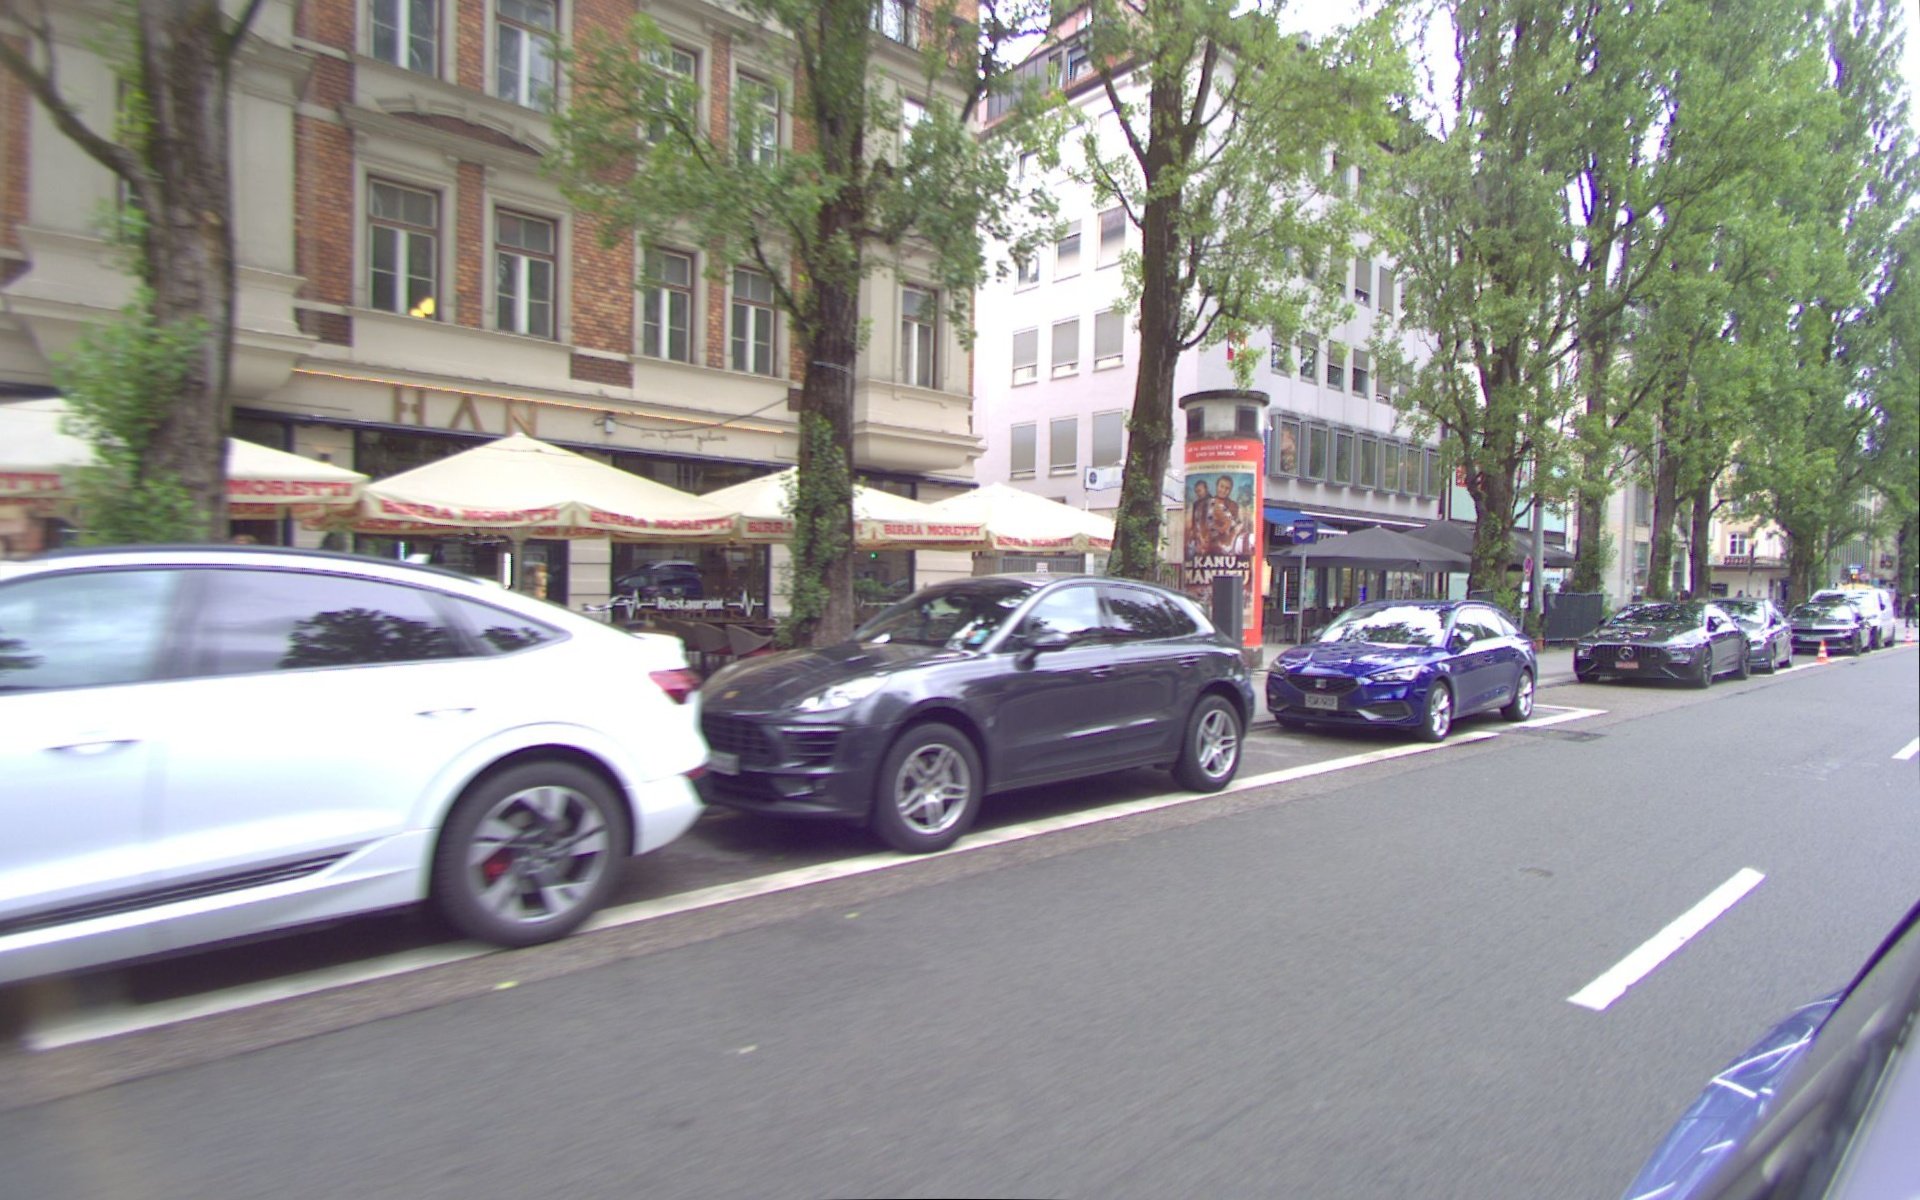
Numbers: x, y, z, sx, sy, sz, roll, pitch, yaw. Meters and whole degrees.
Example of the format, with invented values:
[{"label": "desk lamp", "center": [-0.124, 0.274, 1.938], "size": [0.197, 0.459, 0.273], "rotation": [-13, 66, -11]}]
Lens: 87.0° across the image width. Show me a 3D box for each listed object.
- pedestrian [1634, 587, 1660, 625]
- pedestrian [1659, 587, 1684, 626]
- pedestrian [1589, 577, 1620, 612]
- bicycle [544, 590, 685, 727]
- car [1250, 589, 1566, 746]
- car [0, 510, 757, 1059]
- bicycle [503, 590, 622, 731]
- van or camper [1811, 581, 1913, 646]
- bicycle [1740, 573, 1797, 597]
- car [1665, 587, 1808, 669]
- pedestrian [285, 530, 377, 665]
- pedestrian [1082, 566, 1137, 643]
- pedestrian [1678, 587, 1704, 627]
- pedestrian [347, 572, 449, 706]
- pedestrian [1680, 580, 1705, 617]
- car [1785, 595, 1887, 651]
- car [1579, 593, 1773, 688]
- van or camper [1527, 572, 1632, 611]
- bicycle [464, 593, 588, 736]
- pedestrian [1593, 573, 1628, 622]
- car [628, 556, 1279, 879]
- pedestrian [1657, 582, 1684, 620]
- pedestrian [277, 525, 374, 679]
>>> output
[{"label": "pedestrian", "center": [32.088, 0.264, 47.275], "size": [0.945, 1.739, 0.752], "rotation": [1, 1, -40]}, {"label": "pedestrian", "center": [33.532, 0.318, 47.684], "size": [0.844, 1.779, 0.752], "rotation": [-2, 3, -39]}, {"label": "pedestrian", "center": [31.851, -0.255, 50.023], "size": [0.809, 1.694, 0.988], "rotation": [1, 1, -29]}, {"label": "bicycle", "center": [-3.476, 0.525, 10.084], "size": [0.566, 1.207, 1.871], "rotation": [0, 2, -45]}, {"label": "car", "center": [5.294, 0.620, 11.667], "size": [4.389, 1.422, 1.752], "rotation": [0, 2, -43]}, {"label": "car", "center": [-3.292, 0.541, 3.878], "size": [4.666, 1.641, 1.830], "rotation": [0, 1, -42]}, {"label": "bicycle", "center": [-3.850, 0.530, 9.731], "size": [0.413, 1.207, 1.712], "rotation": [0, 2, -45]}, {"label": "van or camper", "center": [28.988, 0.378, 32.487], "size": [4.818, 1.906, 1.872], "rotation": [0, 1, -41]}, {"label": "bicycle", "center": [44.953, -0.858, 56.291], "size": [0.622, 1.268, 2.348], "rotation": [0, 1, -40]}, {"label": "car", "center": [16.571, 0.511, 21.525], "size": [4.163, 1.525, 1.818], "rotation": [0, 2, -44]}, {"label": "pedestrian", "center": [-8.238, -0.041, 13.259], "size": [0.915, 1.698, 0.730], "rotation": [0, 1, -40]}, {"label": "pedestrian", "center": [3.302, 0.088, 22.344], "size": [0.973, 1.629, 0.730], "rotation": [0, 1, -41]}, {"label": "pedestrian", "center": [33.988, 0.325, 47.050], "size": [0.844, 1.779, 0.752], "rotation": [-2, 3, -39]}, {"label": "pedestrian", "center": [-5.744, 0.367, 10.340], "size": [0.719, 1.283, 0.930], "rotation": [0, 2, -42]}, {"label": "pedestrian", "center": [36.896, -0.083, 50.963], "size": [0.875, 1.840, 0.819], "rotation": [0, 2, -42]}, {"label": "car", "center": [24.689, 0.602, 28.469], "size": [4.280, 1.460, 1.721], "rotation": [0, 0, -43]}, {"label": "car", "center": [13.086, 0.623, 18.373], "size": [4.722, 1.450, 1.881], "rotation": [0, 2, -42]}, {"label": "van or camper", "center": [30.830, -0.430, 50.468], "size": [1.863, 1.890, 4.116], "rotation": [0, 1, -37]}, {"label": "bicycle", "center": [-4.034, 0.541, 9.329], "size": [1.830, 1.153, 0.365], "rotation": [2, 2, 44]}, {"label": "pedestrian", "center": [25.297, -0.092, 39.340], "size": [1.080, 1.864, 0.828], "rotation": [0, 1, -41]}, {"label": "car", "center": [0.181, 0.539, 7.193], "size": [4.406, 1.584, 1.997], "rotation": [0, 2, -42]}, {"label": "pedestrian", "center": [32.258, 0.028, 45.953], "size": [0.945, 1.698, 0.752], "rotation": [0, 1, -40]}, {"label": "pedestrian", "center": [-7.885, 0.009, 12.570], "size": [0.915, 1.824, 0.730], "rotation": [0, 1, -40]}]
